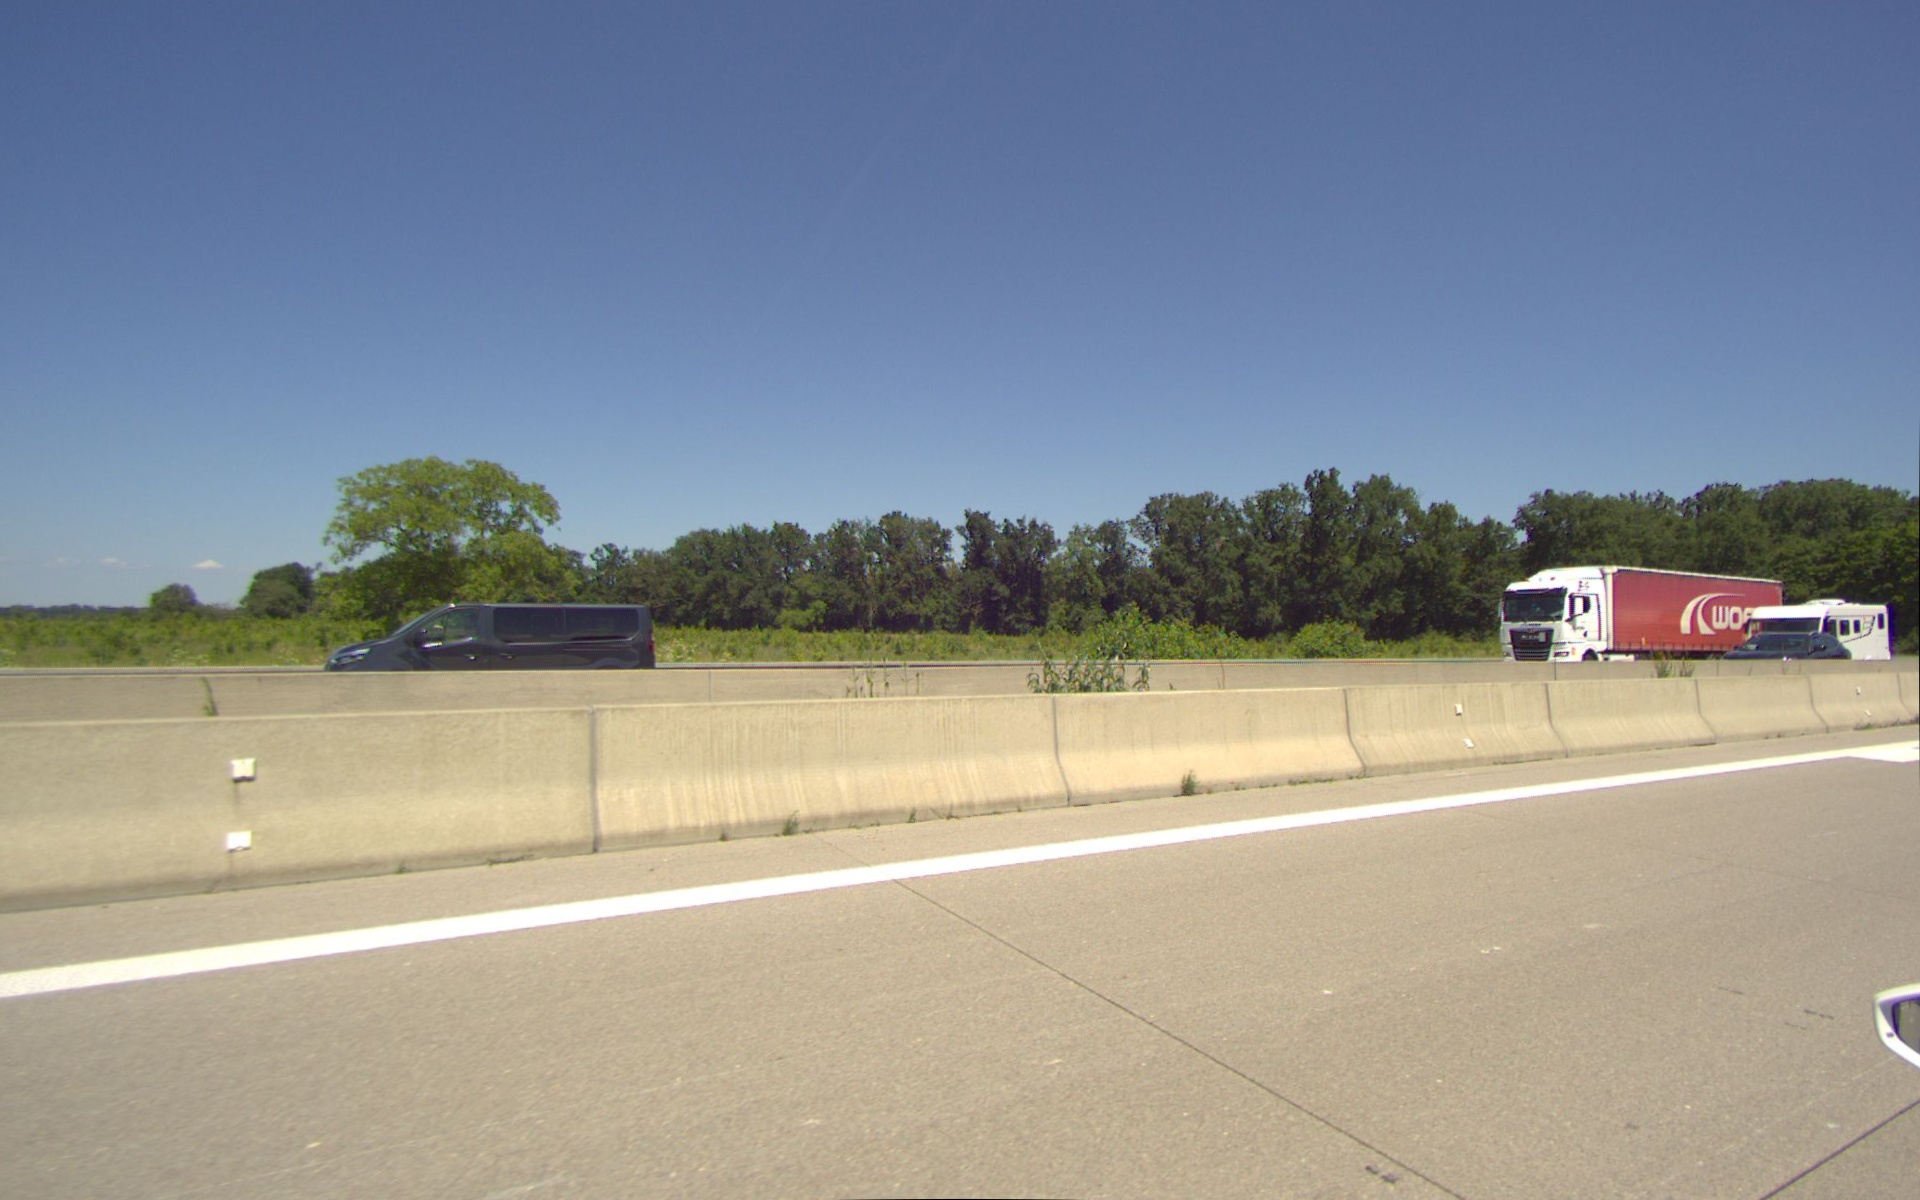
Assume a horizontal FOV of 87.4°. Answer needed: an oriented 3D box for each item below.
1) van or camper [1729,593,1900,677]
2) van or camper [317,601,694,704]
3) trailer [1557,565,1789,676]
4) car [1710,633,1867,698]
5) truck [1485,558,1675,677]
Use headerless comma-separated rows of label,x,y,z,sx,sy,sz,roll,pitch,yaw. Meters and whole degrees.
van or camper,32.424,1.330,38.038,7.844,2.928,2.514,1,-1,-30
van or camper,-8.228,0.918,18.554,6.022,1.643,2.353,1,-1,-31
trailer,29.108,0.887,40.727,12.197,4.035,2.985,1,-1,-30
car,21.982,1.686,26.625,4.547,1.576,1.785,1,-1,-30
truck,22.944,0.695,37.111,7.209,4.035,2.986,1,-1,-30
